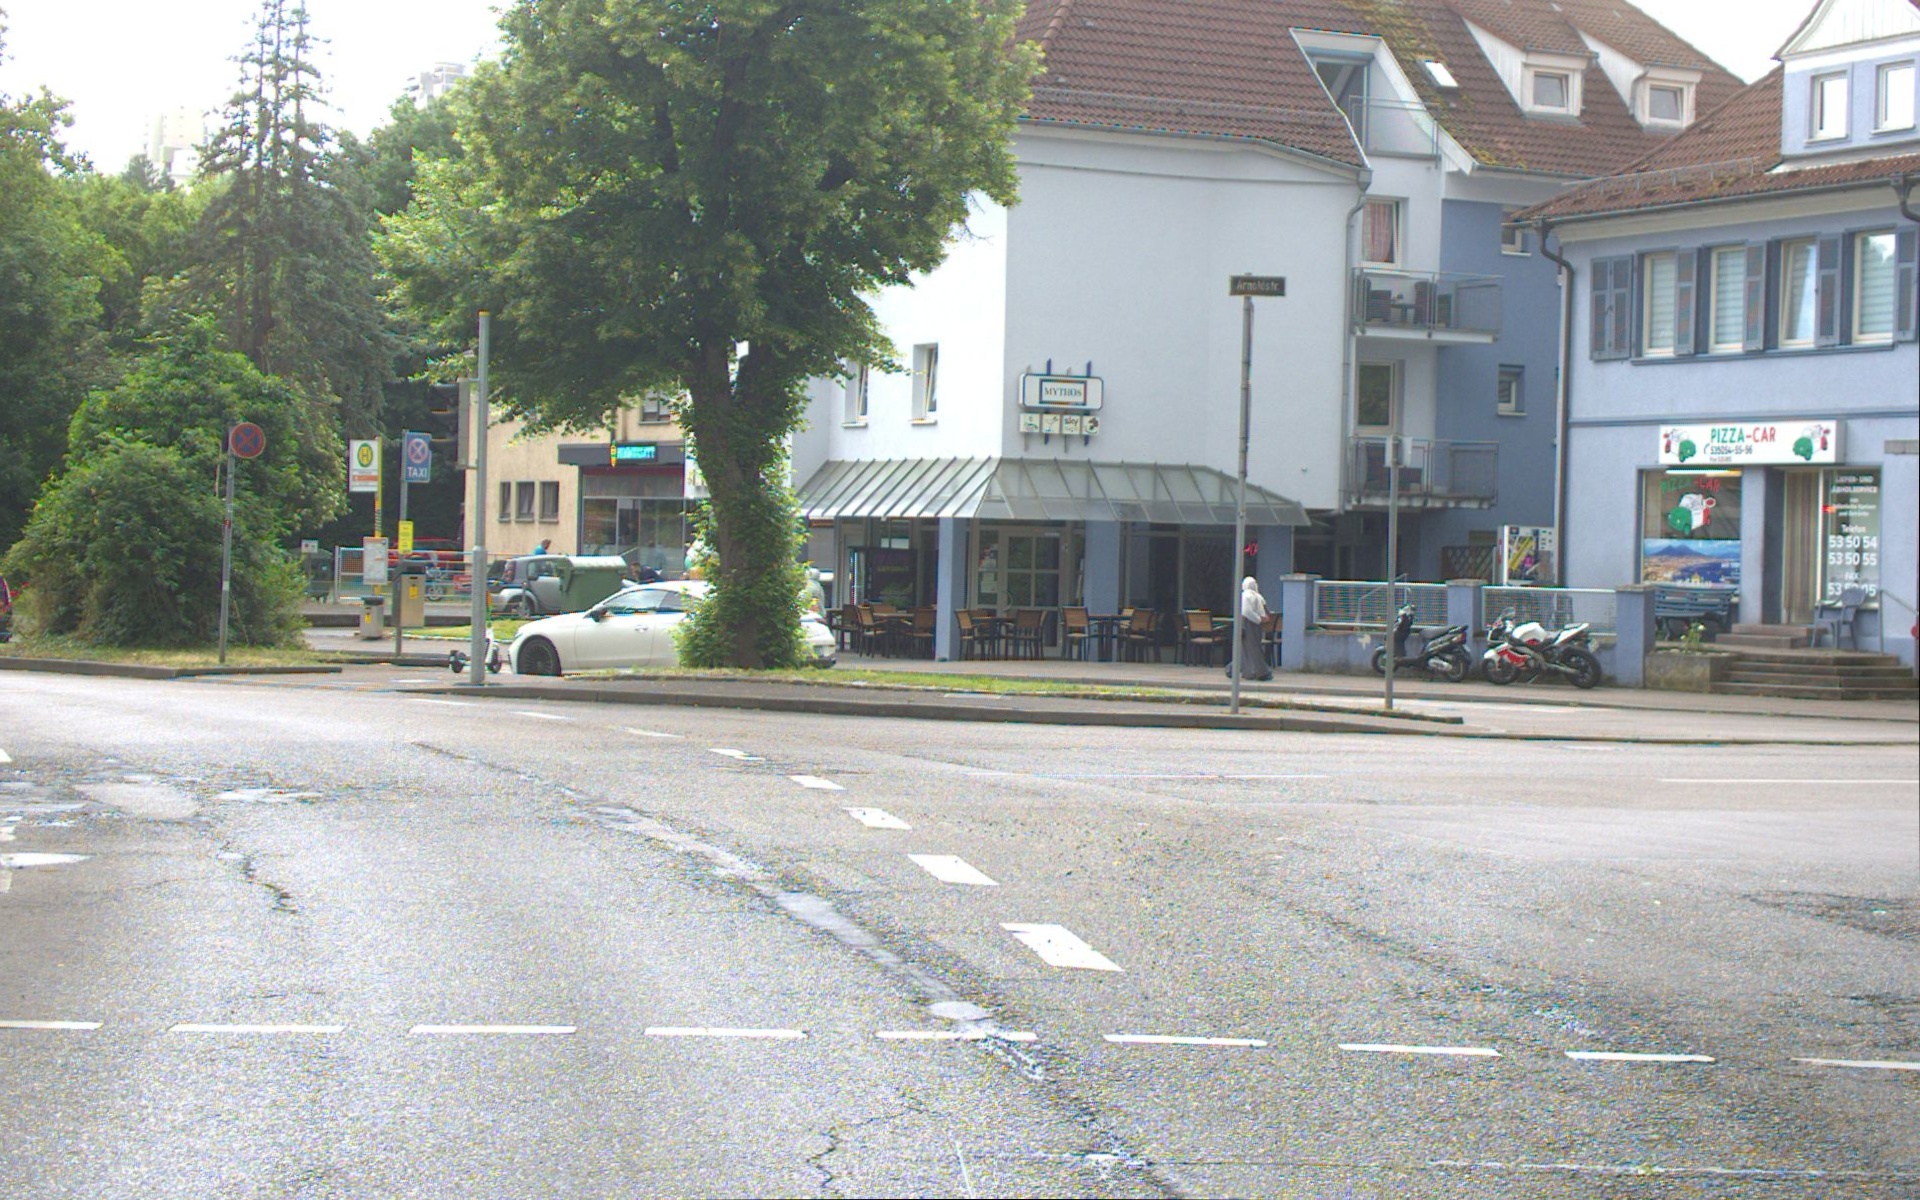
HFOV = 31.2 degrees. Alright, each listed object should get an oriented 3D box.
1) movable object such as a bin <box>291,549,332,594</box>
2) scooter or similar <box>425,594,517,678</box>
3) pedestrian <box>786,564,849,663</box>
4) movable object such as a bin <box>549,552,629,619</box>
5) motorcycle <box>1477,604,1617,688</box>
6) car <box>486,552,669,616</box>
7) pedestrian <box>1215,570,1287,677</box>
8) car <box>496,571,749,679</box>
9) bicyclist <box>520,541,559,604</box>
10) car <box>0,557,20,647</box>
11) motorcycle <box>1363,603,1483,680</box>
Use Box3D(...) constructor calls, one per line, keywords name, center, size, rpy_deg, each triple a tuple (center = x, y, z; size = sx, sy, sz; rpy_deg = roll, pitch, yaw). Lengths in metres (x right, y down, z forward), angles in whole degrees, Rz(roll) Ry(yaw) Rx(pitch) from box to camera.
Box3D(name="movable object such as a bin", center=(-16.251, -0.723, 86.166), size=(0.950, 1.111, 0.383), rpy_deg=(1, 1, -21))
Box3D(name="scooter or similar", center=(-6.059, 0.435, 42.649), size=(0.417, 1.008, 1.565), rpy_deg=(1, 1, 20))
Box3D(name="pedestrian", center=(-2.253, 0.205, 54.393), size=(0.707, 1.539, 0.677), rpy_deg=(2, 1, 40))
Box3D(name="movable object such as a bin", center=(-7.986, -0.317, 73.974), size=(1.440, 1.404, 0.967), rpy_deg=(1, 1, -27))
Box3D(name="motorcycle", center=(8.256, 0.637, 48.381), size=(1.798, 1.118, 0.693), rpy_deg=(2, 1, 38))
Box3D(name="car", center=(-8.429, -0.358, 75.871), size=(3.733, 1.340, 1.434), rpy_deg=(1, 1, -26))
Box3D(name="pedestrian", center=(4.243, 0.338, 50.136), size=(0.768, 1.539, 0.677), rpy_deg=(1, 1, 39))
Box3D(name="car", center=(-4.532, 0.320, 46.042), size=(3.171, 1.350, 1.436), rpy_deg=(2, 1, 35))
Box3D(name="bicyclist", center=(-10.327, -0.670, 84.509), size=(0.739, 1.536, 0.598), rpy_deg=(2, 1, 44))
Box3D(name="car", center=(-16.515, -0.008, 53.720), size=(3.590, 1.389, 1.469), rpy_deg=(2, 1, 32))
Box3D(name="motorcycle", center=(6.750, 0.600, 50.159), size=(1.636, 1.060, 0.693), rpy_deg=(2, 1, 44))
